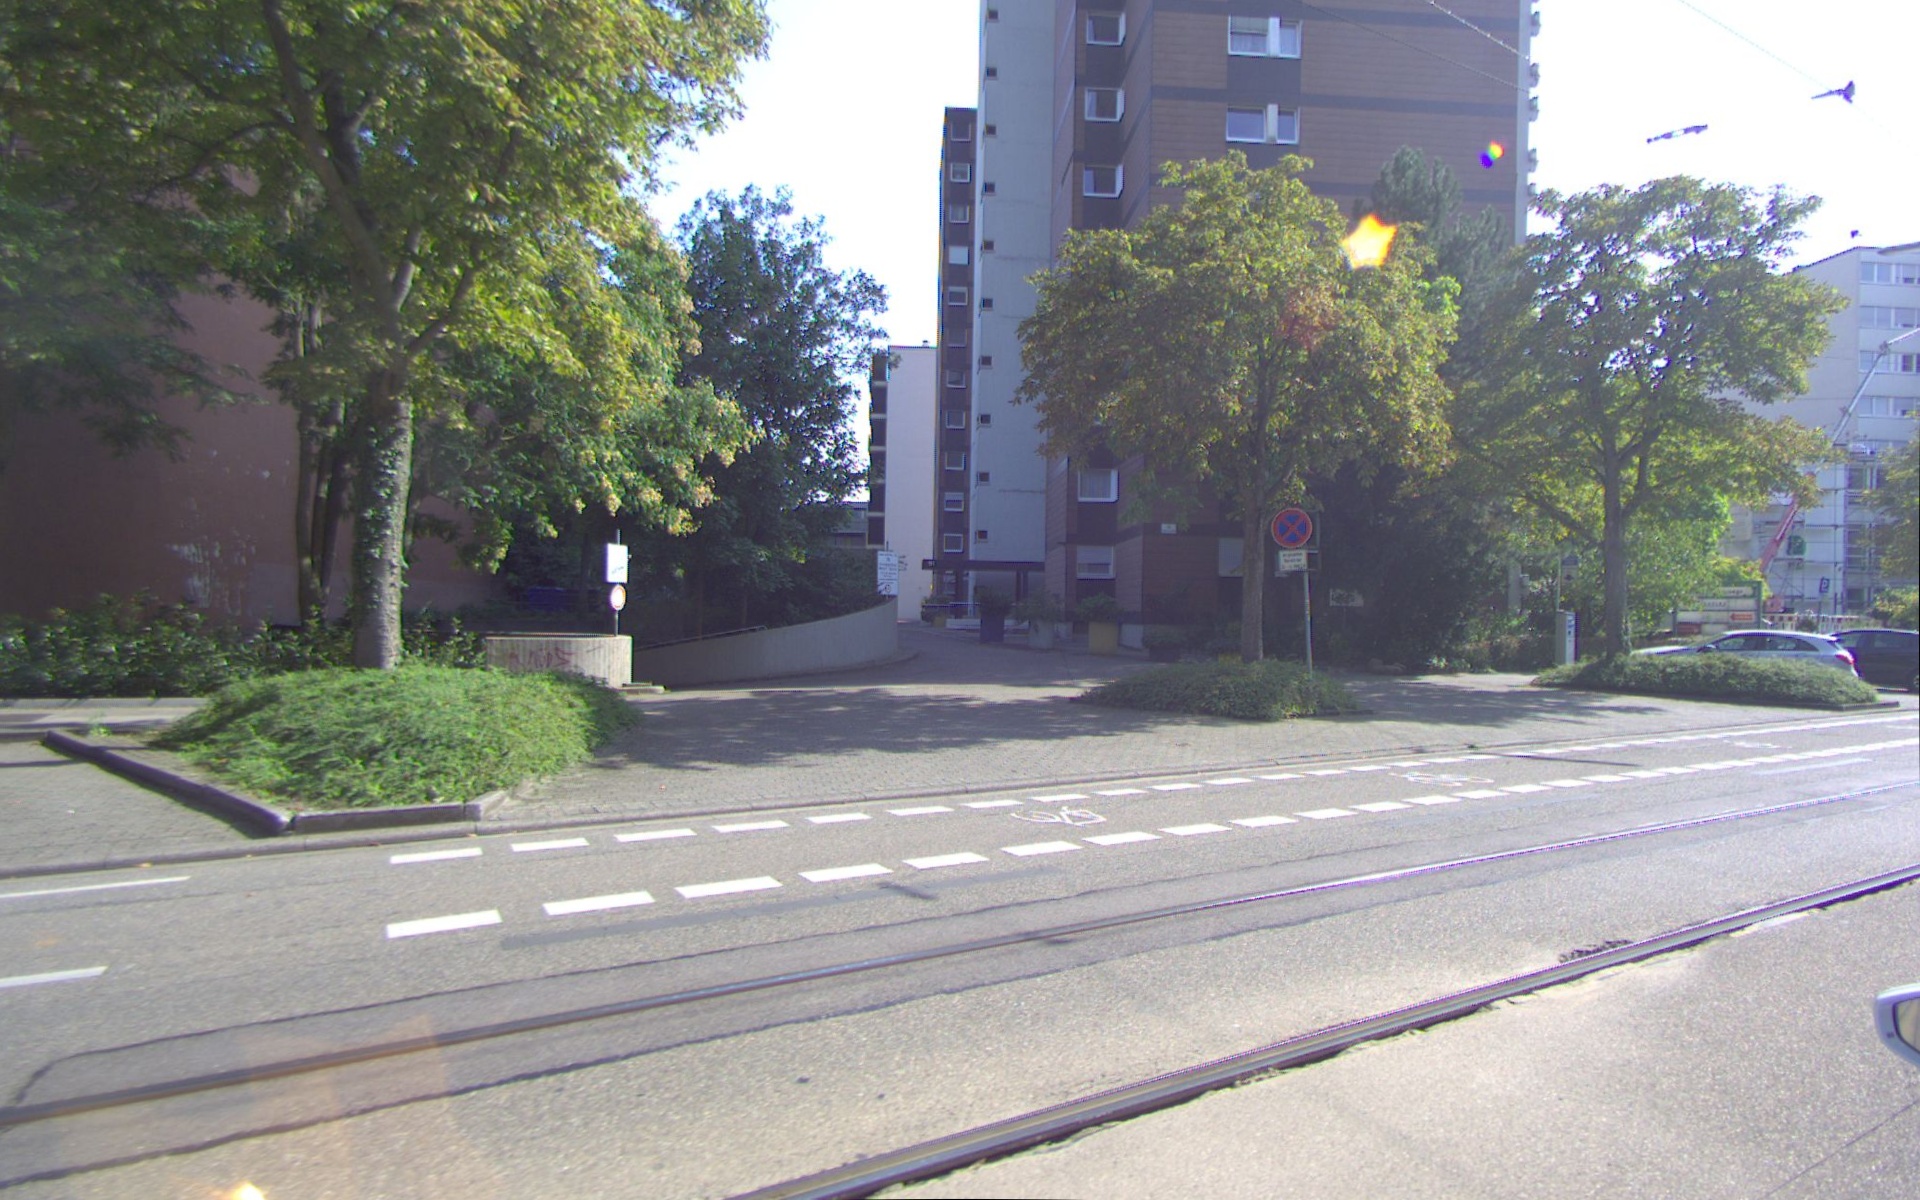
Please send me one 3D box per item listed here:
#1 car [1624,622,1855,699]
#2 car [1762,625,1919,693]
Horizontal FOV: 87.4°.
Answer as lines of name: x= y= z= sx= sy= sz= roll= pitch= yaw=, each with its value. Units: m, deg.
car: x=17.572 y=1.313 z=22.916 sx=3.930 sy=1.499 sz=1.785 roll=2 pitch=0 yaw=31
car: x=23.278 y=1.498 z=26.144 sx=3.586 sy=1.535 sz=1.616 roll=2 pitch=1 yaw=36
